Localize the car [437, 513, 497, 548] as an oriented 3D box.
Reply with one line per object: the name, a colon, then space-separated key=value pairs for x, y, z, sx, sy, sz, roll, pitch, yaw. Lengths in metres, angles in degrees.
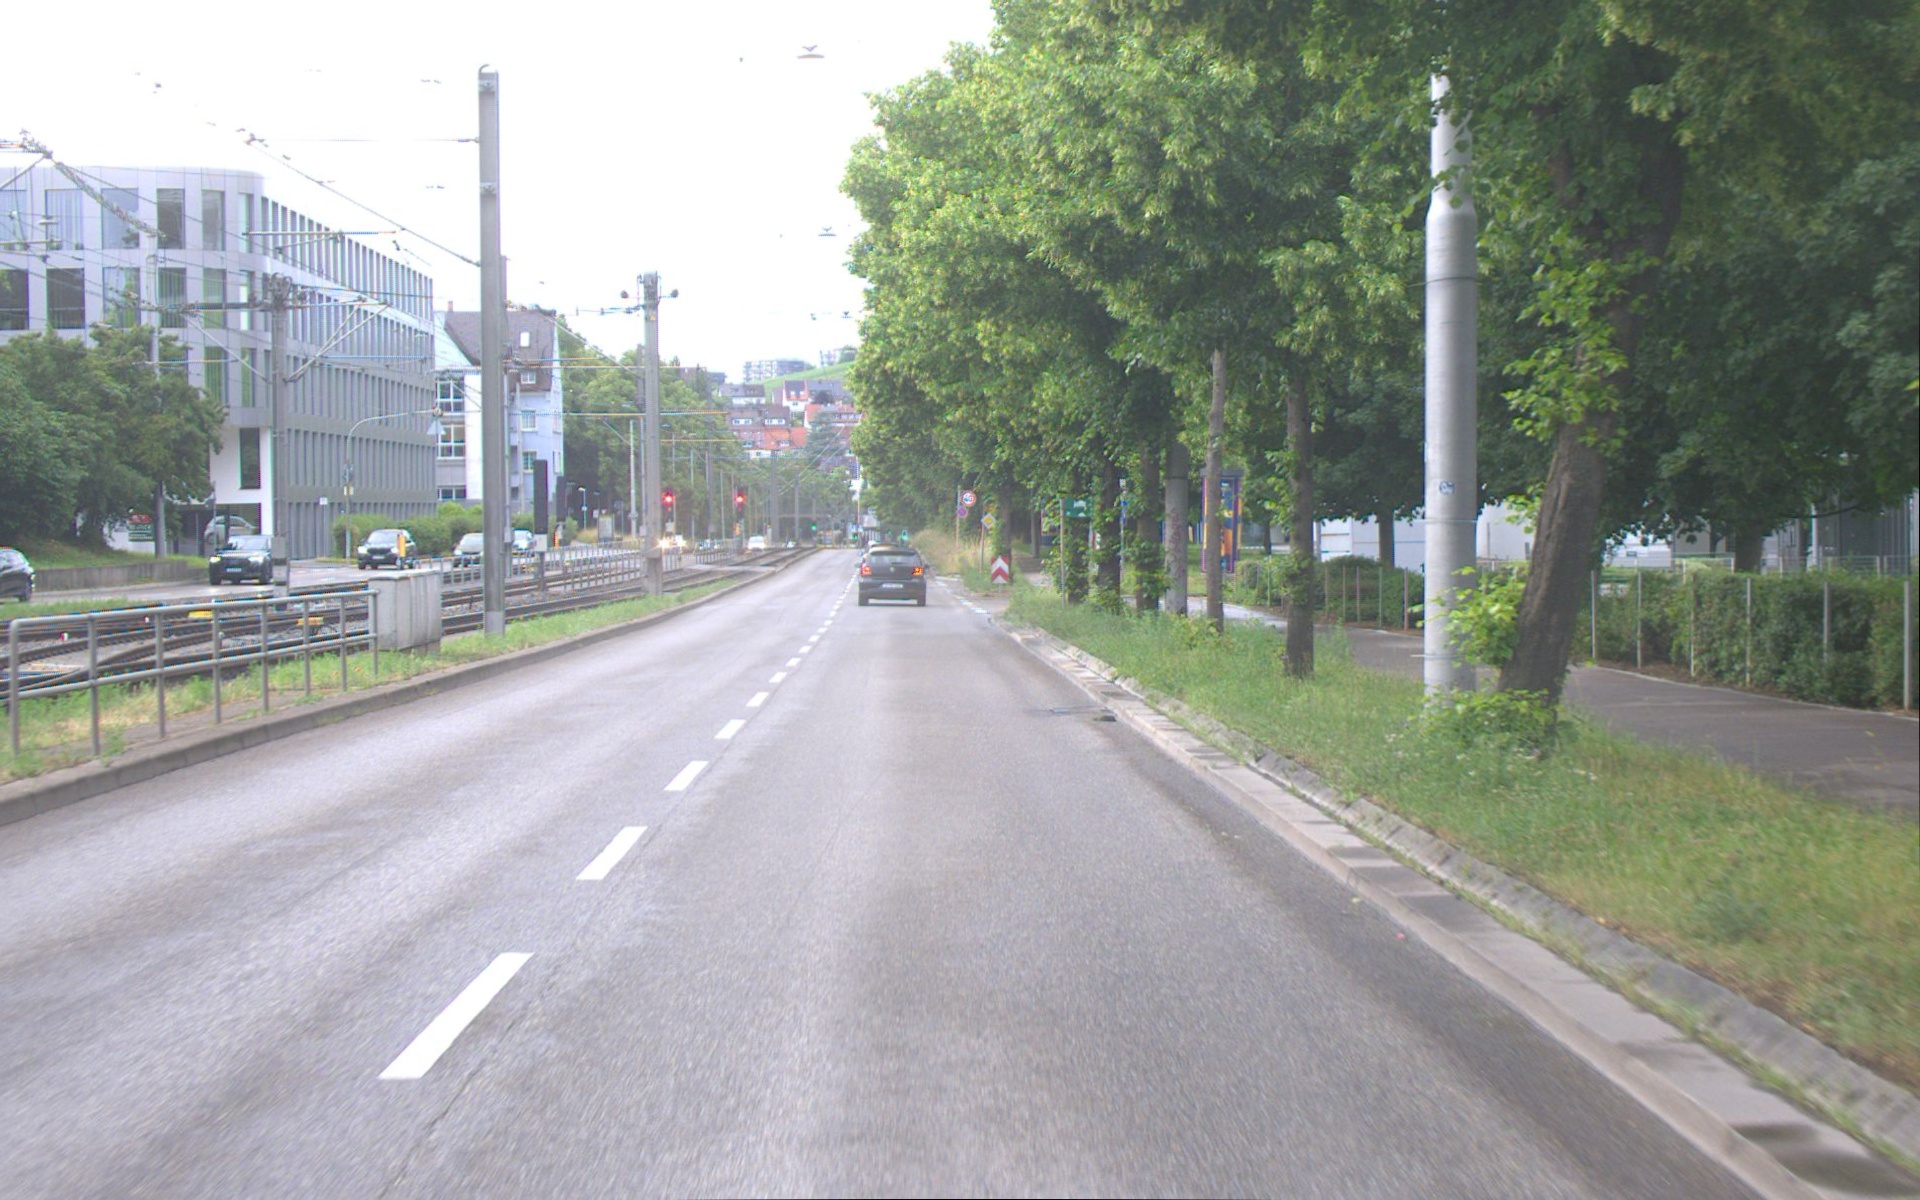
car: x=-21.492 y=-3.037 z=149.946 sx=1.891 sy=1.481 sz=4.308 roll=0 pitch=1 yaw=2

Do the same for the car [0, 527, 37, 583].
car: x=-25.610 y=-1.153 z=88.931 sx=1.927 sy=1.442 sz=4.682 roll=0 pitch=1 yaw=4

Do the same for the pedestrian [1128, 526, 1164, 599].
pedestrian: x=4.591 y=-0.930 z=84.863 sx=0.826 sy=1.791 sz=0.868 roll=1 pitch=1 yaw=0

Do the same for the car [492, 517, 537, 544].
car: x=-23.861 y=-3.746 z=184.217 sx=1.761 sy=1.392 sz=3.900 roll=0 pitch=1 yaw=2

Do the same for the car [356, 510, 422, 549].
car: x=-23.832 y=-2.940 z=143.631 sx=1.948 sy=1.590 sz=4.848 roll=0 pitch=1 yaw=0

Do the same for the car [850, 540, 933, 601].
car: x=-1.680 y=-0.748 z=85.152 sx=1.982 sy=1.435 sz=4.474 roll=-1 pitch=1 yaw=-1

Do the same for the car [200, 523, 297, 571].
car: x=-24.311 y=-1.840 z=117.593 sx=2.089 sy=1.583 sz=5.158 roll=0 pitch=1 yaw=2
